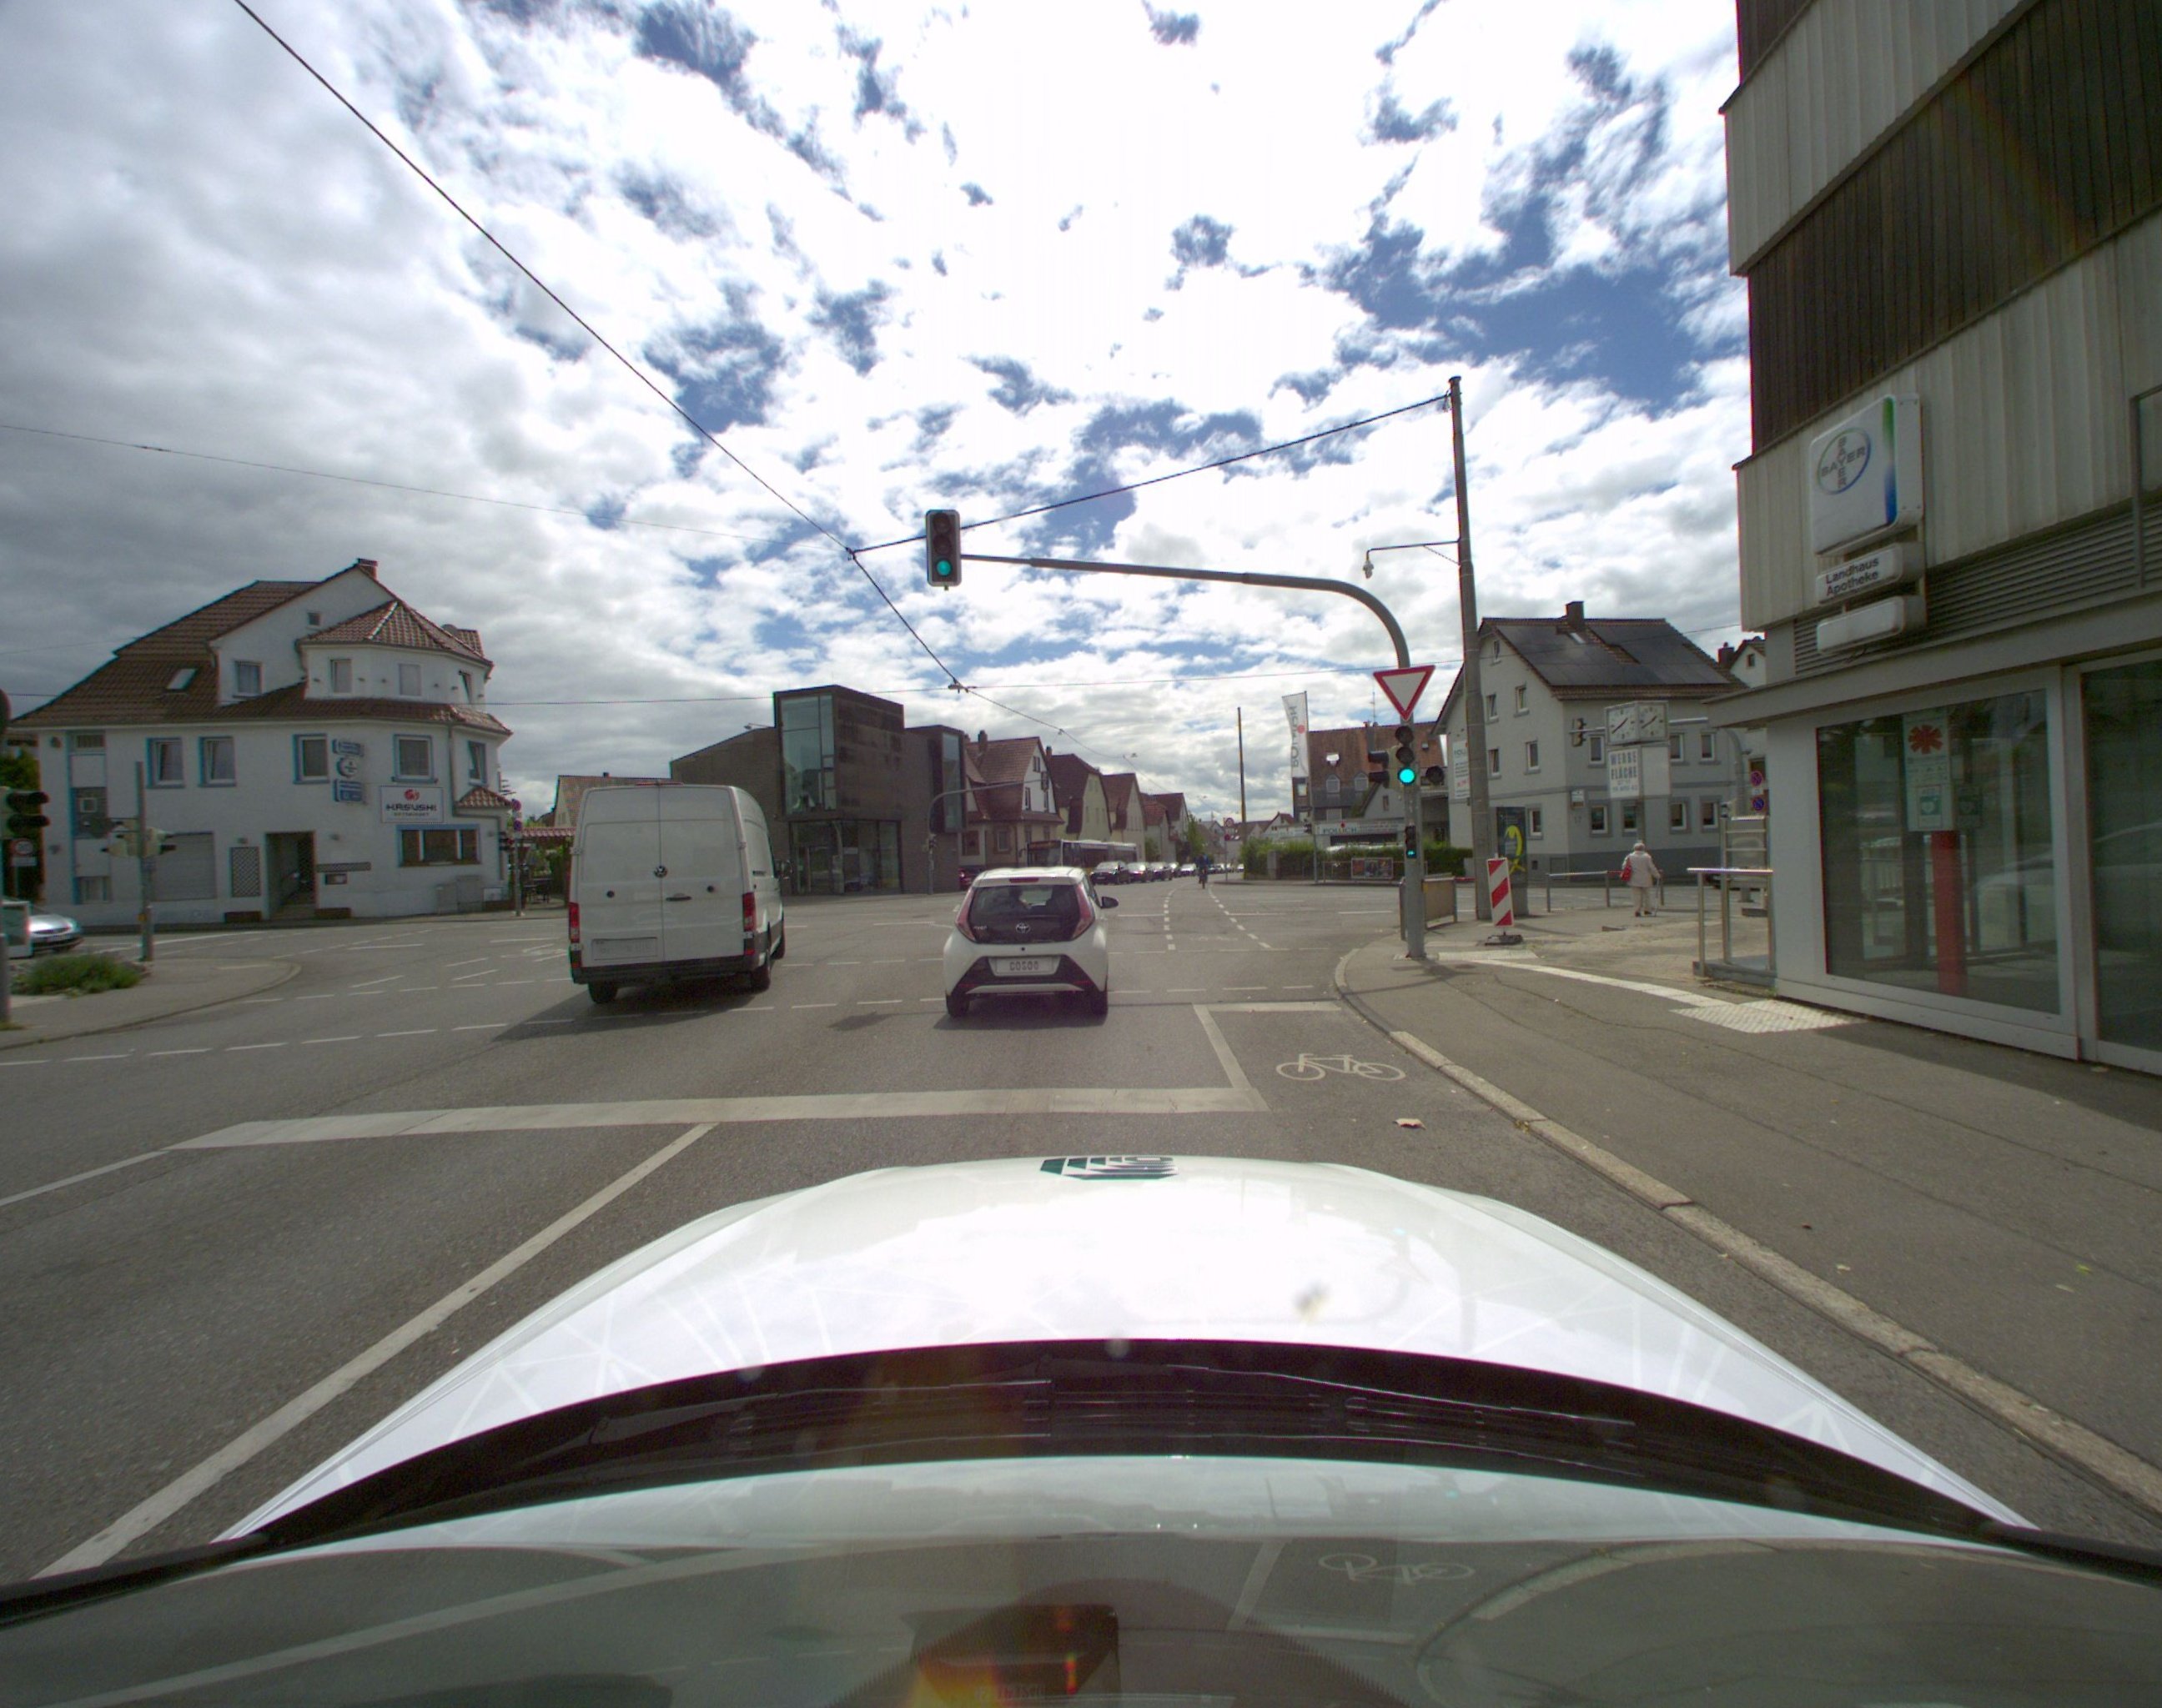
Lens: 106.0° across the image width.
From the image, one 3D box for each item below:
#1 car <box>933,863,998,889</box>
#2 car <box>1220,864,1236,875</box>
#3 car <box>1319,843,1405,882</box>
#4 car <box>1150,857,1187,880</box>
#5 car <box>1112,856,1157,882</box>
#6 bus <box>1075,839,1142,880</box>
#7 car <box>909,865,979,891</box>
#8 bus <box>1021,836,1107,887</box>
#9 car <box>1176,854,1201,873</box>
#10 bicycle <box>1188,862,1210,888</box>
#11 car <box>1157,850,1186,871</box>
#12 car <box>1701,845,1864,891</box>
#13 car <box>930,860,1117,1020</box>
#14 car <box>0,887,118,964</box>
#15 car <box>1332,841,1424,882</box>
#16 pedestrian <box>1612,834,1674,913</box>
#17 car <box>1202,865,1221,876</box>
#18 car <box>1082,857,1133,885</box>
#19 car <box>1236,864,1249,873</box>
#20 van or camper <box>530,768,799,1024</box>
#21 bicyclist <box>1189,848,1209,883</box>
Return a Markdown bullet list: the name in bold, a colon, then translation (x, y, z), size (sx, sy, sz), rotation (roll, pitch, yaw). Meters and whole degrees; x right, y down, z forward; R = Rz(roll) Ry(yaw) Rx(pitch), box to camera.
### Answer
- **car**: translation (-7.914, 1.497, 55.909), size (3.957, 1.684, 2.008), rotation (-1, 0, 15)
- **car**: translation (24.484, 2.611, 135.871), size (1.977, 1.640, 4.020), rotation (-1, 0, 19)
- **car**: translation (15.231, 0.449, 44.260), size (3.982, 2.014, 1.995), rotation (-1, 0, -7)
- **car**: translation (6.746, 1.098, 62.401), size (1.977, 1.640, 4.020), rotation (-1, 0, 19)
- **car**: translation (3.697, 1.016, 55.682), size (1.977, 1.640, 4.204), rotation (-1, 0, 19)
- **bus**: translation (2.277, 0.424, 63.298), size (2.756, 2.914, 9.233), rotation (-1, 0, 18)
- **car**: translation (-8.882, 1.565, 52.960), size (3.957, 1.640, 2.008), rotation (0, 0, 15)
- **bus**: translation (-0.885, 0.461, 53.456), size (2.756, 3.060, 9.233), rotation (-1, 0, 18)
- **car**: translation (12.142, 1.044, 92.074), size (1.977, 2.013, 4.020), rotation (-1, 0, 20)
- **bicycle**: translation (5.639, 0.987, 38.935), size (0.828, 1.164, 2.194), rotation (-2, 0, 3)
- **car**: translation (9.339, 0.647, 83.921), size (1.976, 2.013, 4.021), rotation (-1, 0, 22)
- **car**: translation (25.394, 0.464, 29.539), size (4.600, 1.457, 1.995), rotation (-1, 2, -9)
- **car**: translation (-0.483, 0.826, 9.449), size (1.732, 1.460, 3.533), rotation (-1, 0, 2)
- **car**: translation (-26.424, 1.740, 19.533), size (3.981, 1.684, 1.996), rotation (-2, 0, -5)
- **car**: translation (15.230, 0.385, 41.878), size (3.983, 1.948, 1.995), rotation (-1, -1, -8)
- **pedestrian**: translation (11.947, 0.424, 17.352), size (0.827, 1.638, 0.878), rotation (-2, -2, 18)
- **car**: translation (19.466, 2.458, 121.505), size (1.977, 1.640, 4.020), rotation (-1, 0, 19)
- **car**: translation (1.687, 1.030, 50.592), size (1.977, 1.640, 4.020), rotation (-1, 0, 19)
- **car**: translation (31.134, 2.837, 156.819), size (1.977, 1.640, 4.020), rotation (-1, 0, 19)
- **van or camper**: translation (-5.323, 0.443, 11.376), size (2.111, 2.586, 5.615), rotation (-3, 0, -15)
- **bicyclist**: translation (5.628, 0.549, 38.965), size (0.837, 1.614, 1.084), rotation (-2, 0, 4)
